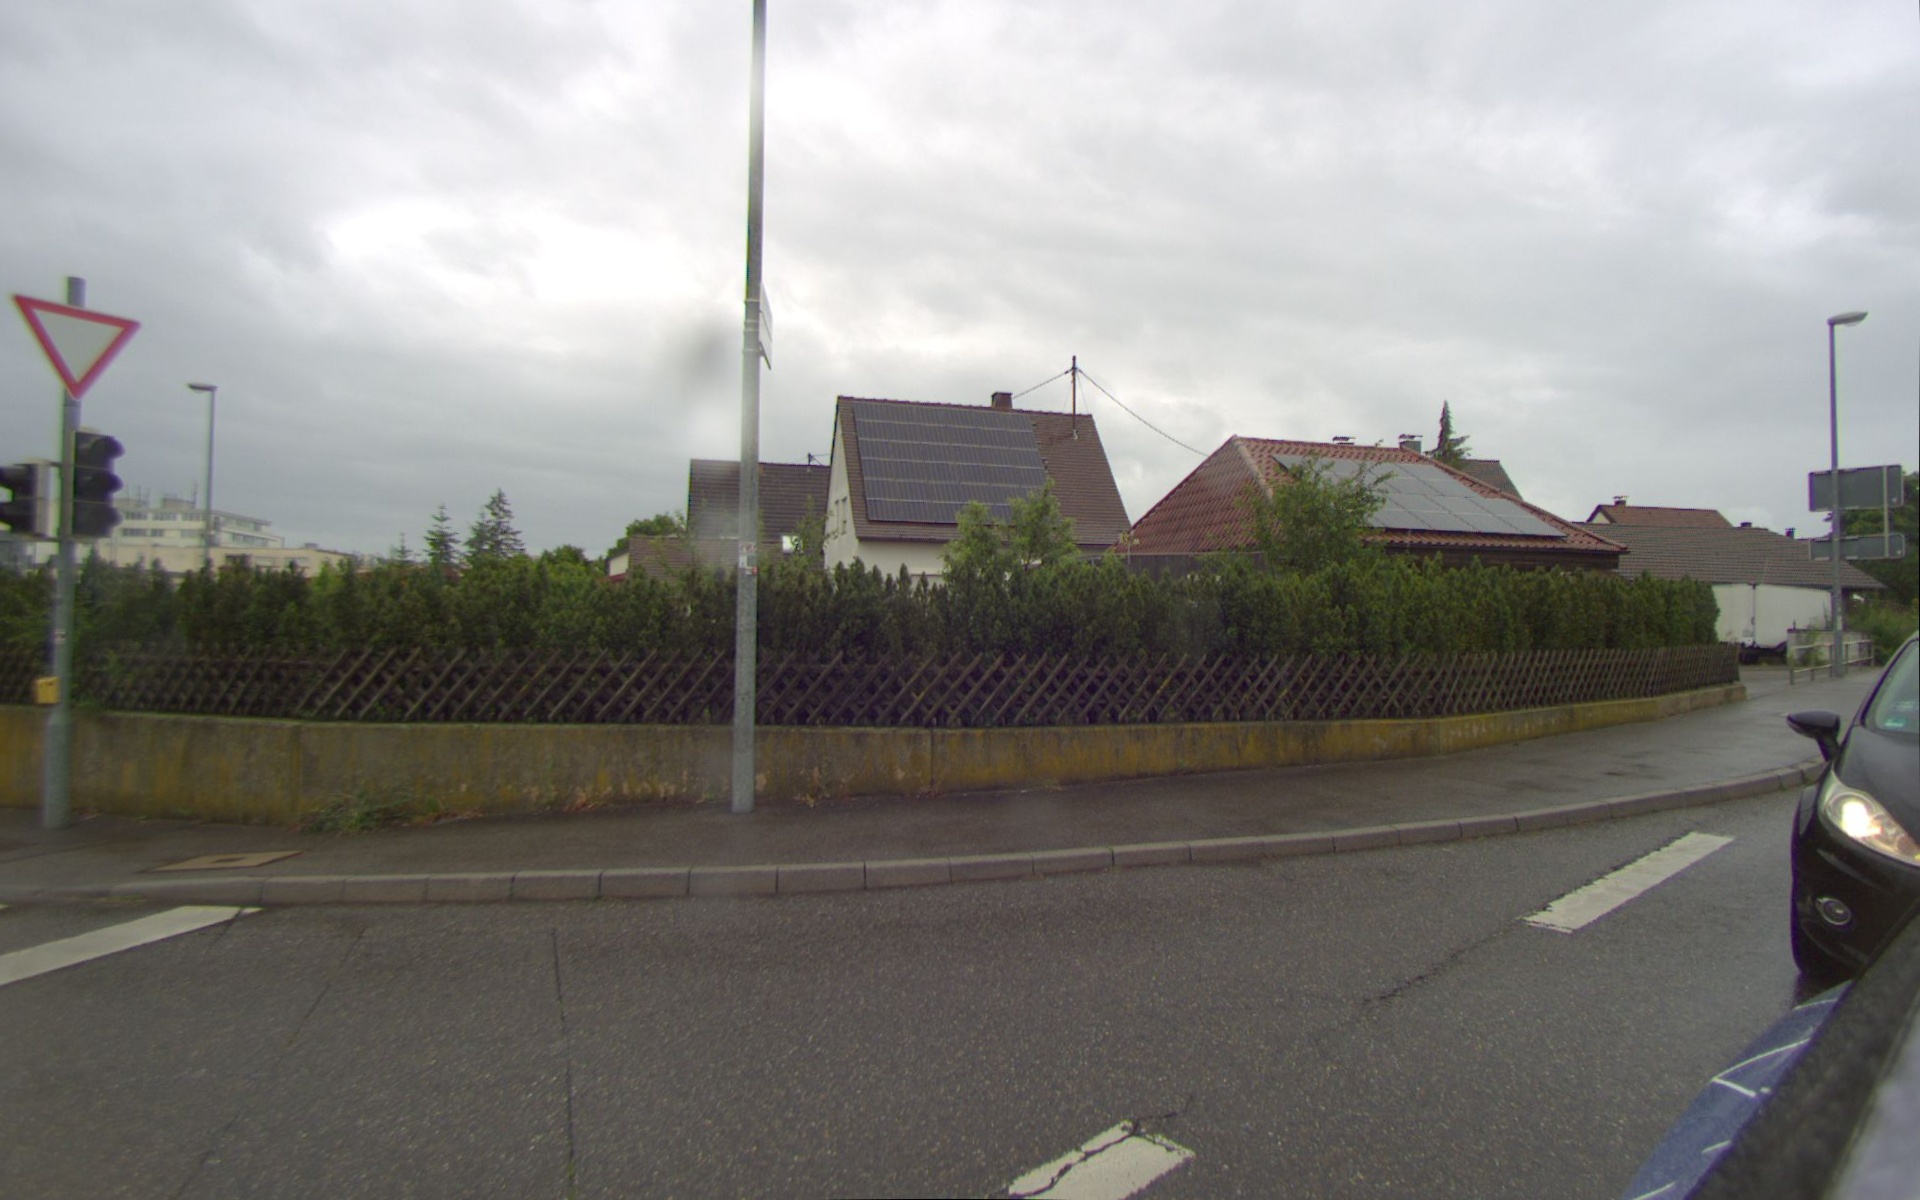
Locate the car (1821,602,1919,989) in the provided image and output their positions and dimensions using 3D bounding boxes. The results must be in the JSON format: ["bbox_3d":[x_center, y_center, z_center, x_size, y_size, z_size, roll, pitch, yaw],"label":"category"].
[{"bbox_3d":[5.446,0.751,4.792,3.867,1.436,1.663,-1,0,-43],"label":"car"}]

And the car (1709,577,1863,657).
[{"bbox_3d":[25.424,0.506,31.176,3.916,2.380,1.657,0,-1,-14],"label":"car"}]
